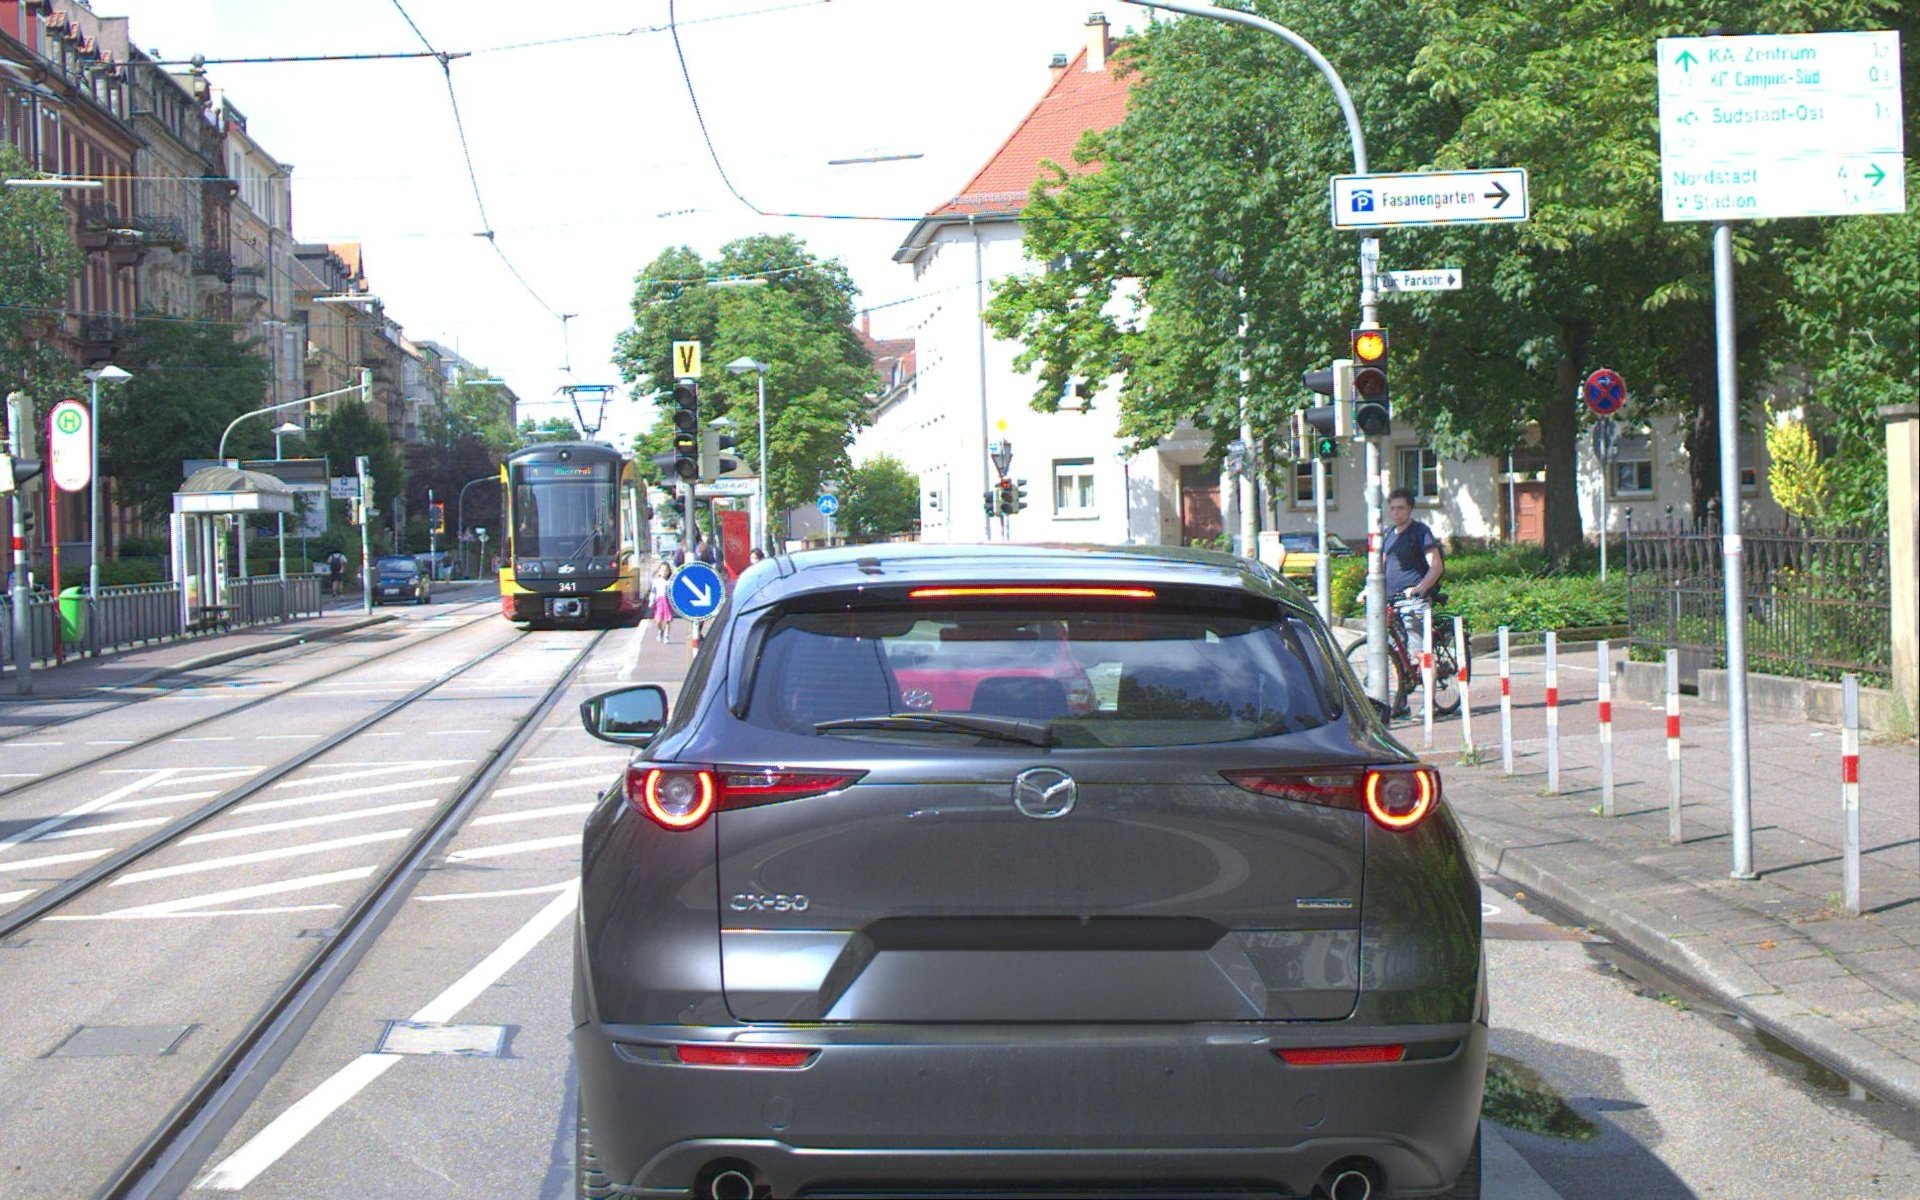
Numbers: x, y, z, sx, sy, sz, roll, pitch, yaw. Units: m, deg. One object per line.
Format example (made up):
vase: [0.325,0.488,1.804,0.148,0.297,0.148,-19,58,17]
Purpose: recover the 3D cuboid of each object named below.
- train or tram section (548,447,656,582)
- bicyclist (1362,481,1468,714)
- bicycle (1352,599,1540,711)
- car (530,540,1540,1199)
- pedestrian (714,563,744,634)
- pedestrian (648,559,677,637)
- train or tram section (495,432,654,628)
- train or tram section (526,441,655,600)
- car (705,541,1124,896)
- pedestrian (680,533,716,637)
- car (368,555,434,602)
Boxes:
train or tram section: [-10.102,-2.505,98.112,2.752,3.478,14.411,-2,2,-5]
bicyclist: [3.568,-0.026,26.992,0.608,1.786,0.658,-1,1,-11]
bicycle: [3.879,0.428,27.378,1.694,0.821,0.494,-2,1,-42]
car: [0.085,0.620,8.097,1.778,1.494,4.000,1,1,-1]
pedestrian: [-3.214,-0.023,47.865,0.379,0.981,0.474,-1,1,-5]
pedestrian: [-4.124,-0.035,47.646,0.379,1.067,0.474,-1,1,-5]
train or tram section: [-7.614,-1.516,69.422,2.752,3.478,14.411,-2,2,-5]
train or tram section: [-8.861,-2.006,83.774,2.752,3.478,14.411,-2,2,-5]
car: [-0.243,0.476,16.719,1.778,1.494,4.000,1,1,-1]
pedestrian: [-3.631,-0.213,47.619,0.450,1.429,0.474,-1,1,-5]
car: [-16.653,-0.655,102.605,1.614,1.305,3.628,-1,1,-4]
